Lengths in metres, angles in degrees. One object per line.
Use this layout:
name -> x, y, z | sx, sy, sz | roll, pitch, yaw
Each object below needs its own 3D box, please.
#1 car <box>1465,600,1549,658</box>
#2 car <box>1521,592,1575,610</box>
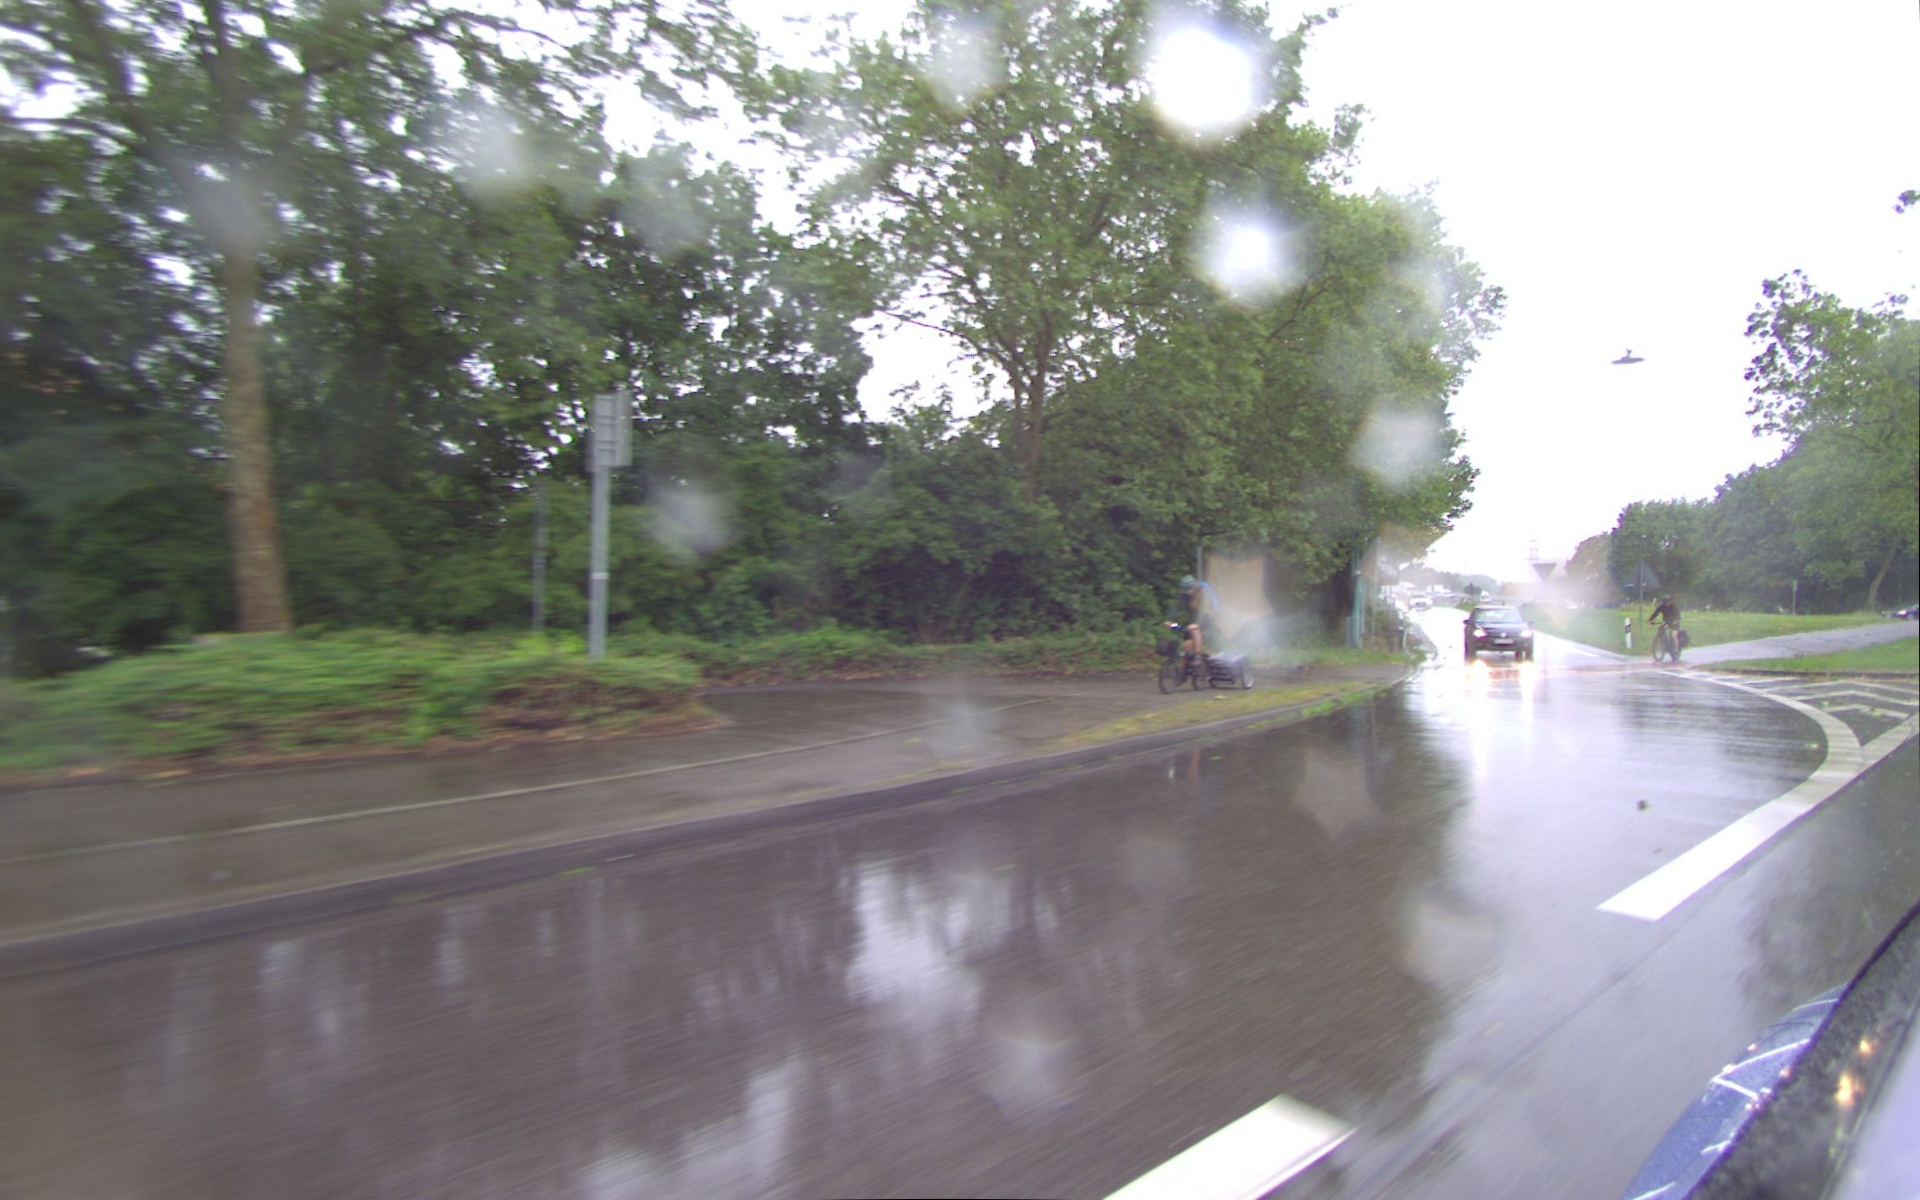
car -> 17.041, 0.841, 31.714 | 1.848, 1.556, 4.482 | 1, 1, 23
car -> 53.407, 0.056, 91.987 | 1.716, 1.437, 4.008 | 0, 2, -25
